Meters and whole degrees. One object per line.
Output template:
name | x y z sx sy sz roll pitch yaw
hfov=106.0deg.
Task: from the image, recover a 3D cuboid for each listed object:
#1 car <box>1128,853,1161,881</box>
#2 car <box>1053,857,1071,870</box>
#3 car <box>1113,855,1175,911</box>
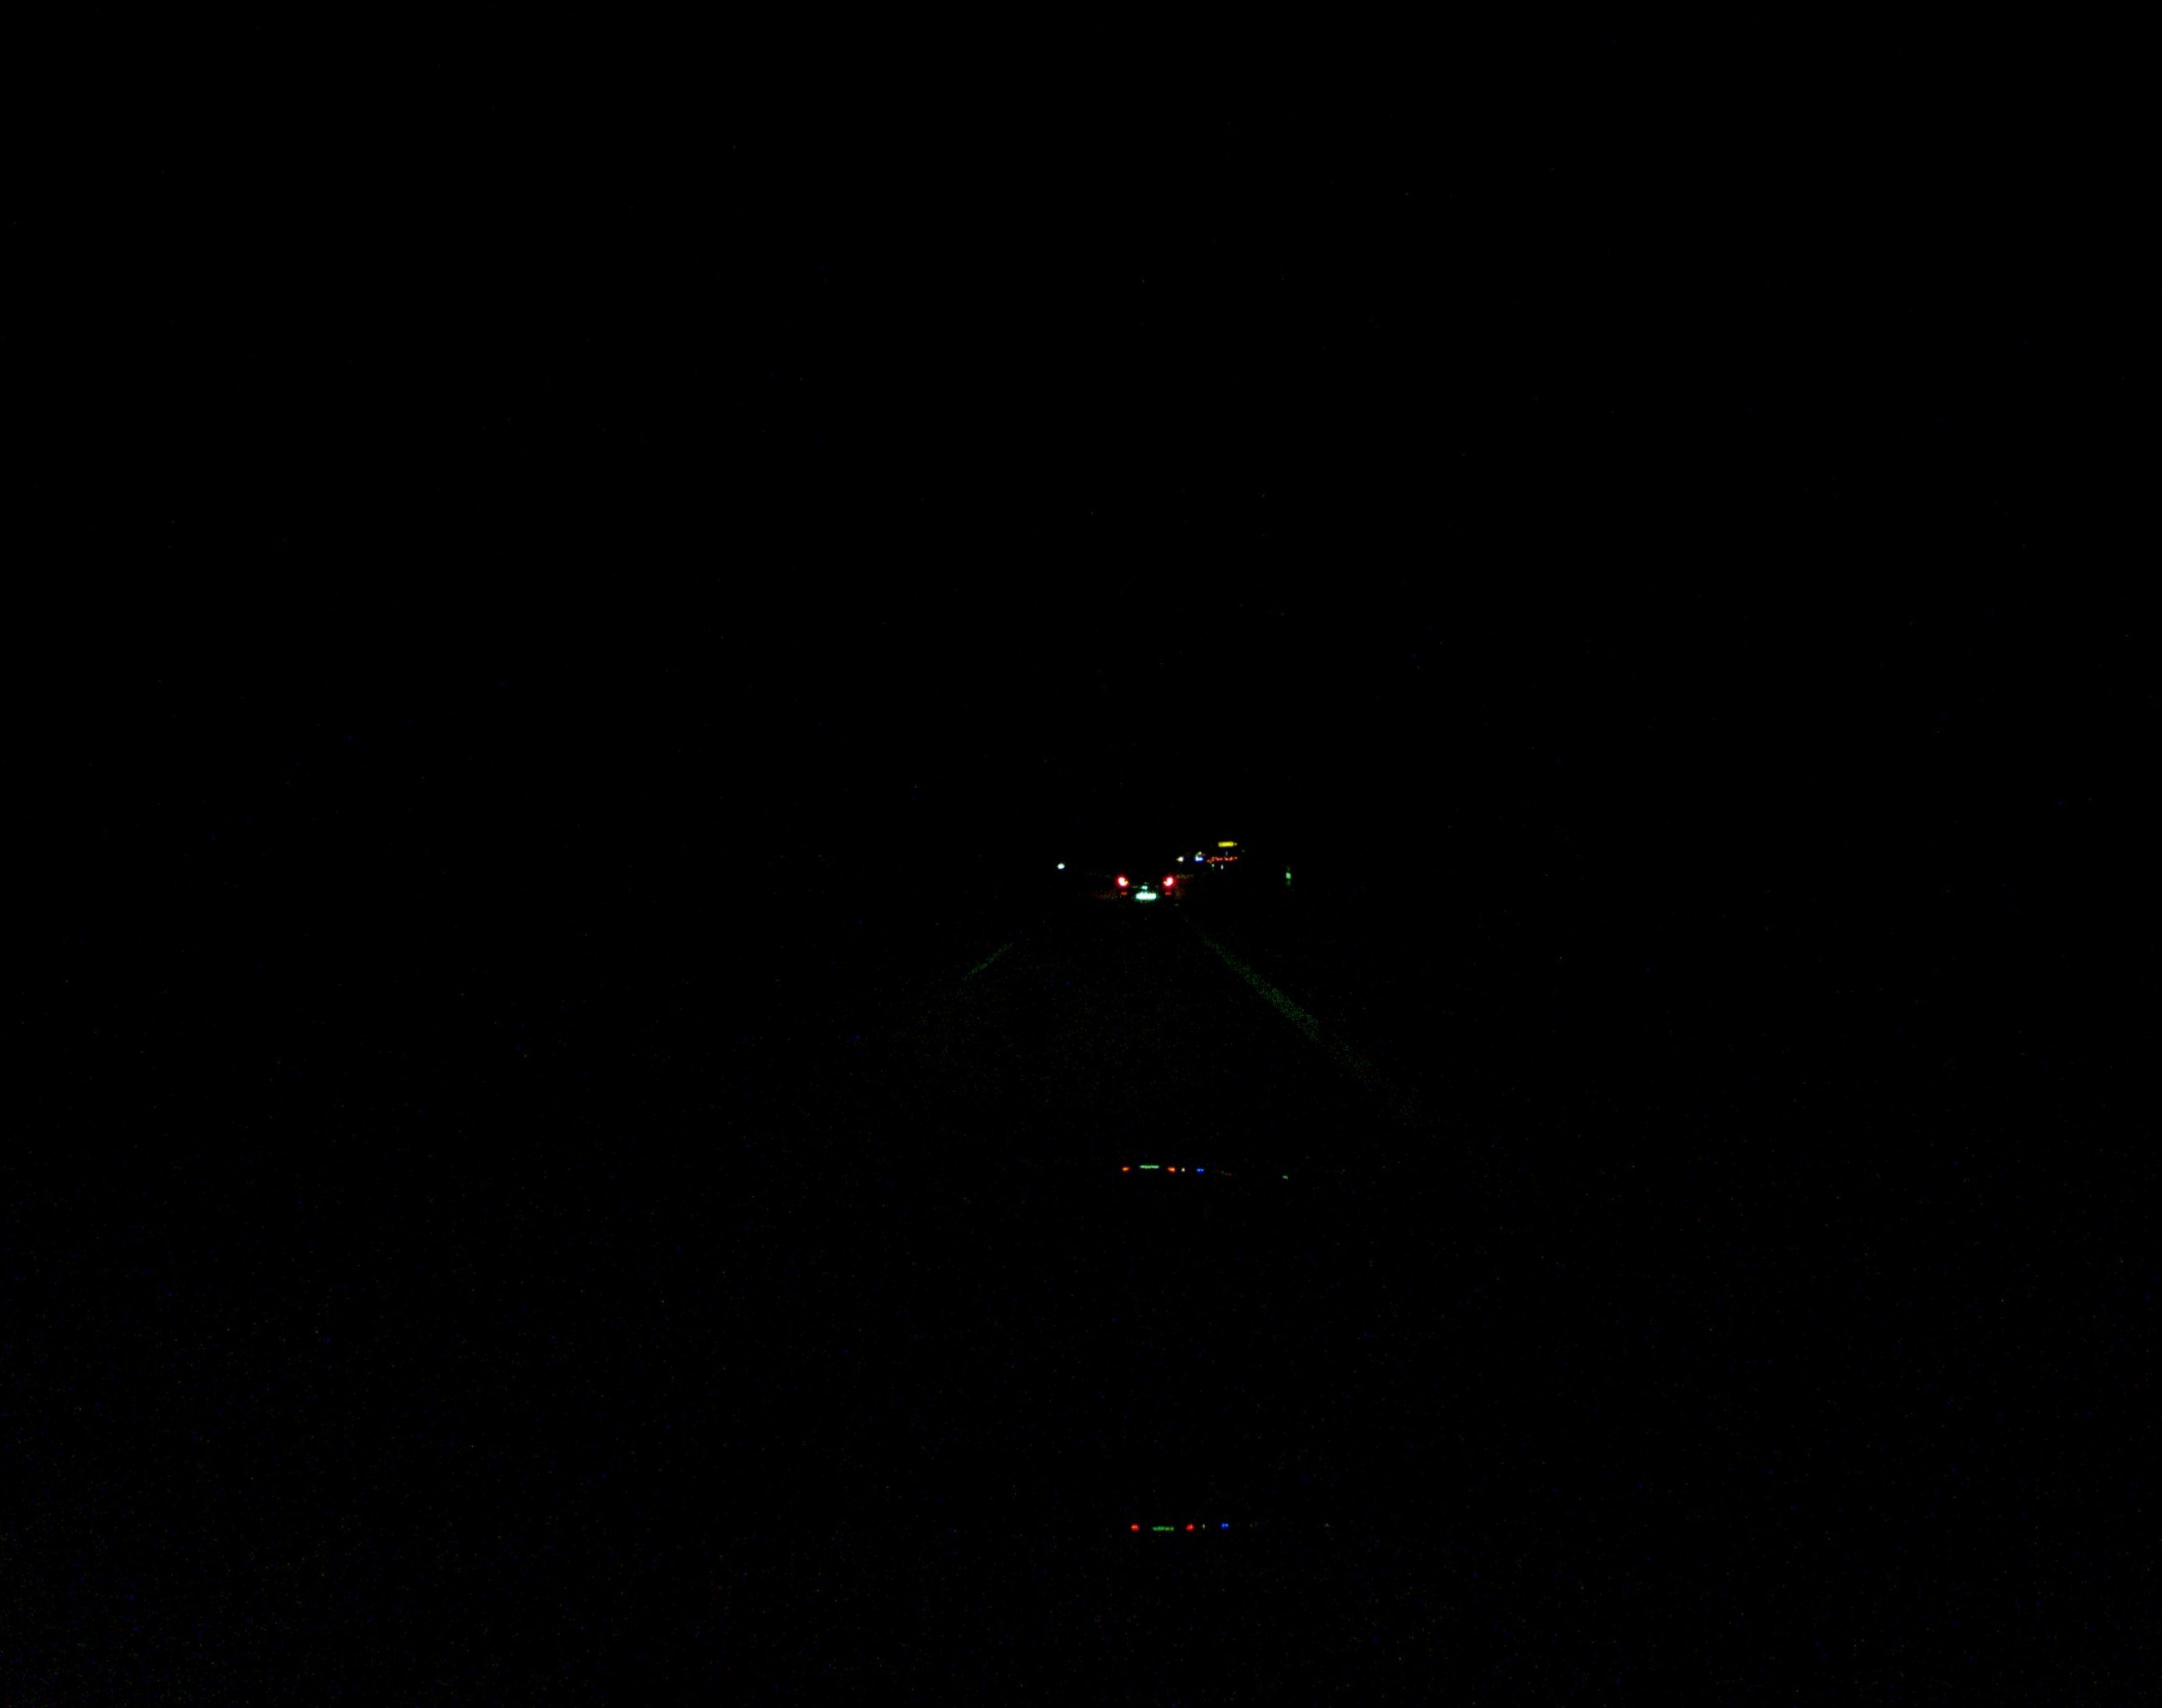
car | 4.183 0.840 52.965 1.896 1.698 4.008 -1 0 7
car | -2.547 1.307 111.046 1.985 1.657 4.538 -2 -1 4
car | 1.787 0.801 24.039 1.582 1.508 4.001 0 0 1
